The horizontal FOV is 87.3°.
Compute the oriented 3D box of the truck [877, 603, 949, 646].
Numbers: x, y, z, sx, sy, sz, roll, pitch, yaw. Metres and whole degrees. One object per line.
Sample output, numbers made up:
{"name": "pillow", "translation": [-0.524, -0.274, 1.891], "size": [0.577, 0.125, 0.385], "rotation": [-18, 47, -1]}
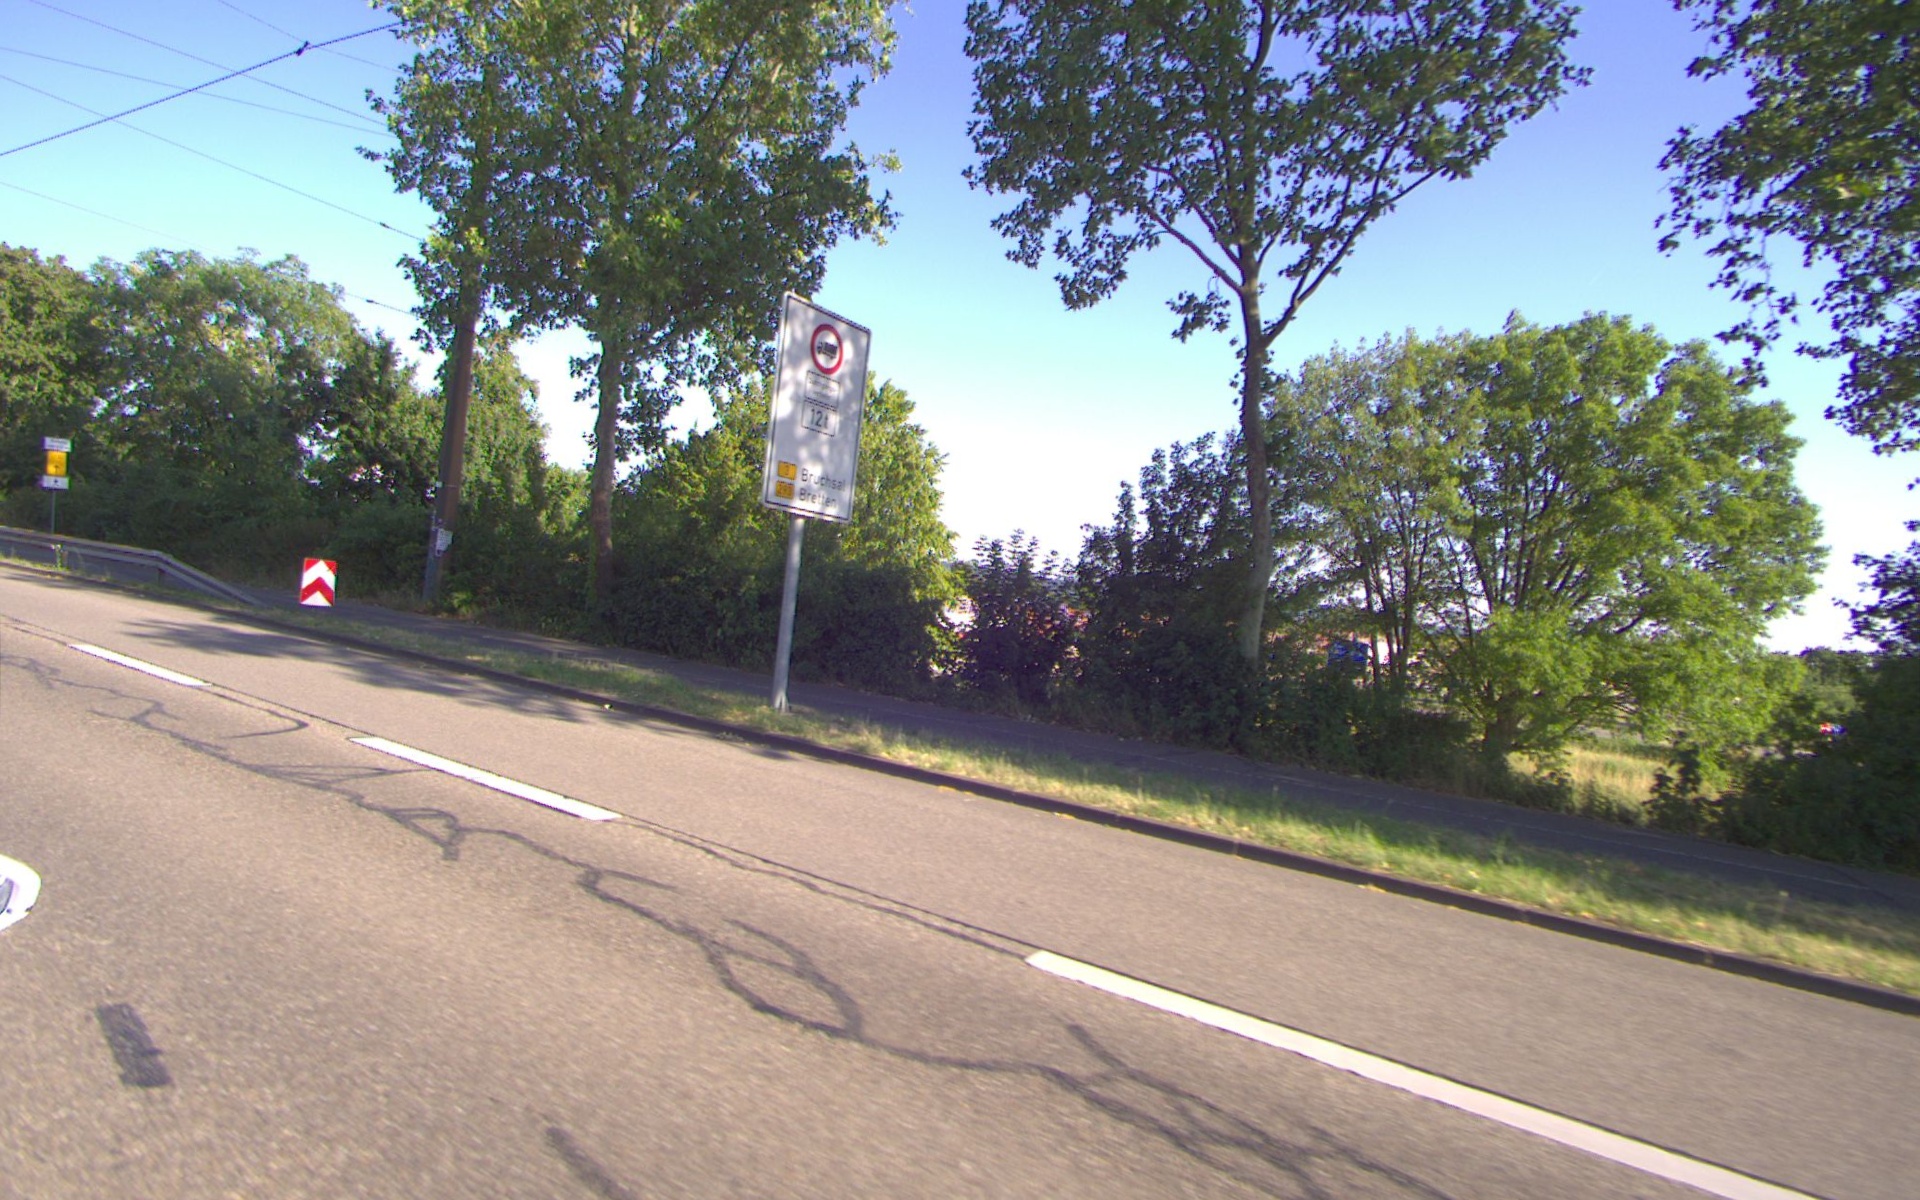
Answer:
{"name": "truck", "translation": [-5.371, 2.835, 116.048], "size": [7.257, 3.883, 3.114], "rotation": [9, -2, -27]}

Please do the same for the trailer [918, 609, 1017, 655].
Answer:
{"name": "trailer", "translation": [0.955, 3.784, 119.300], "size": [11.269, 3.883, 3.114], "rotation": [9, -2, -27]}
